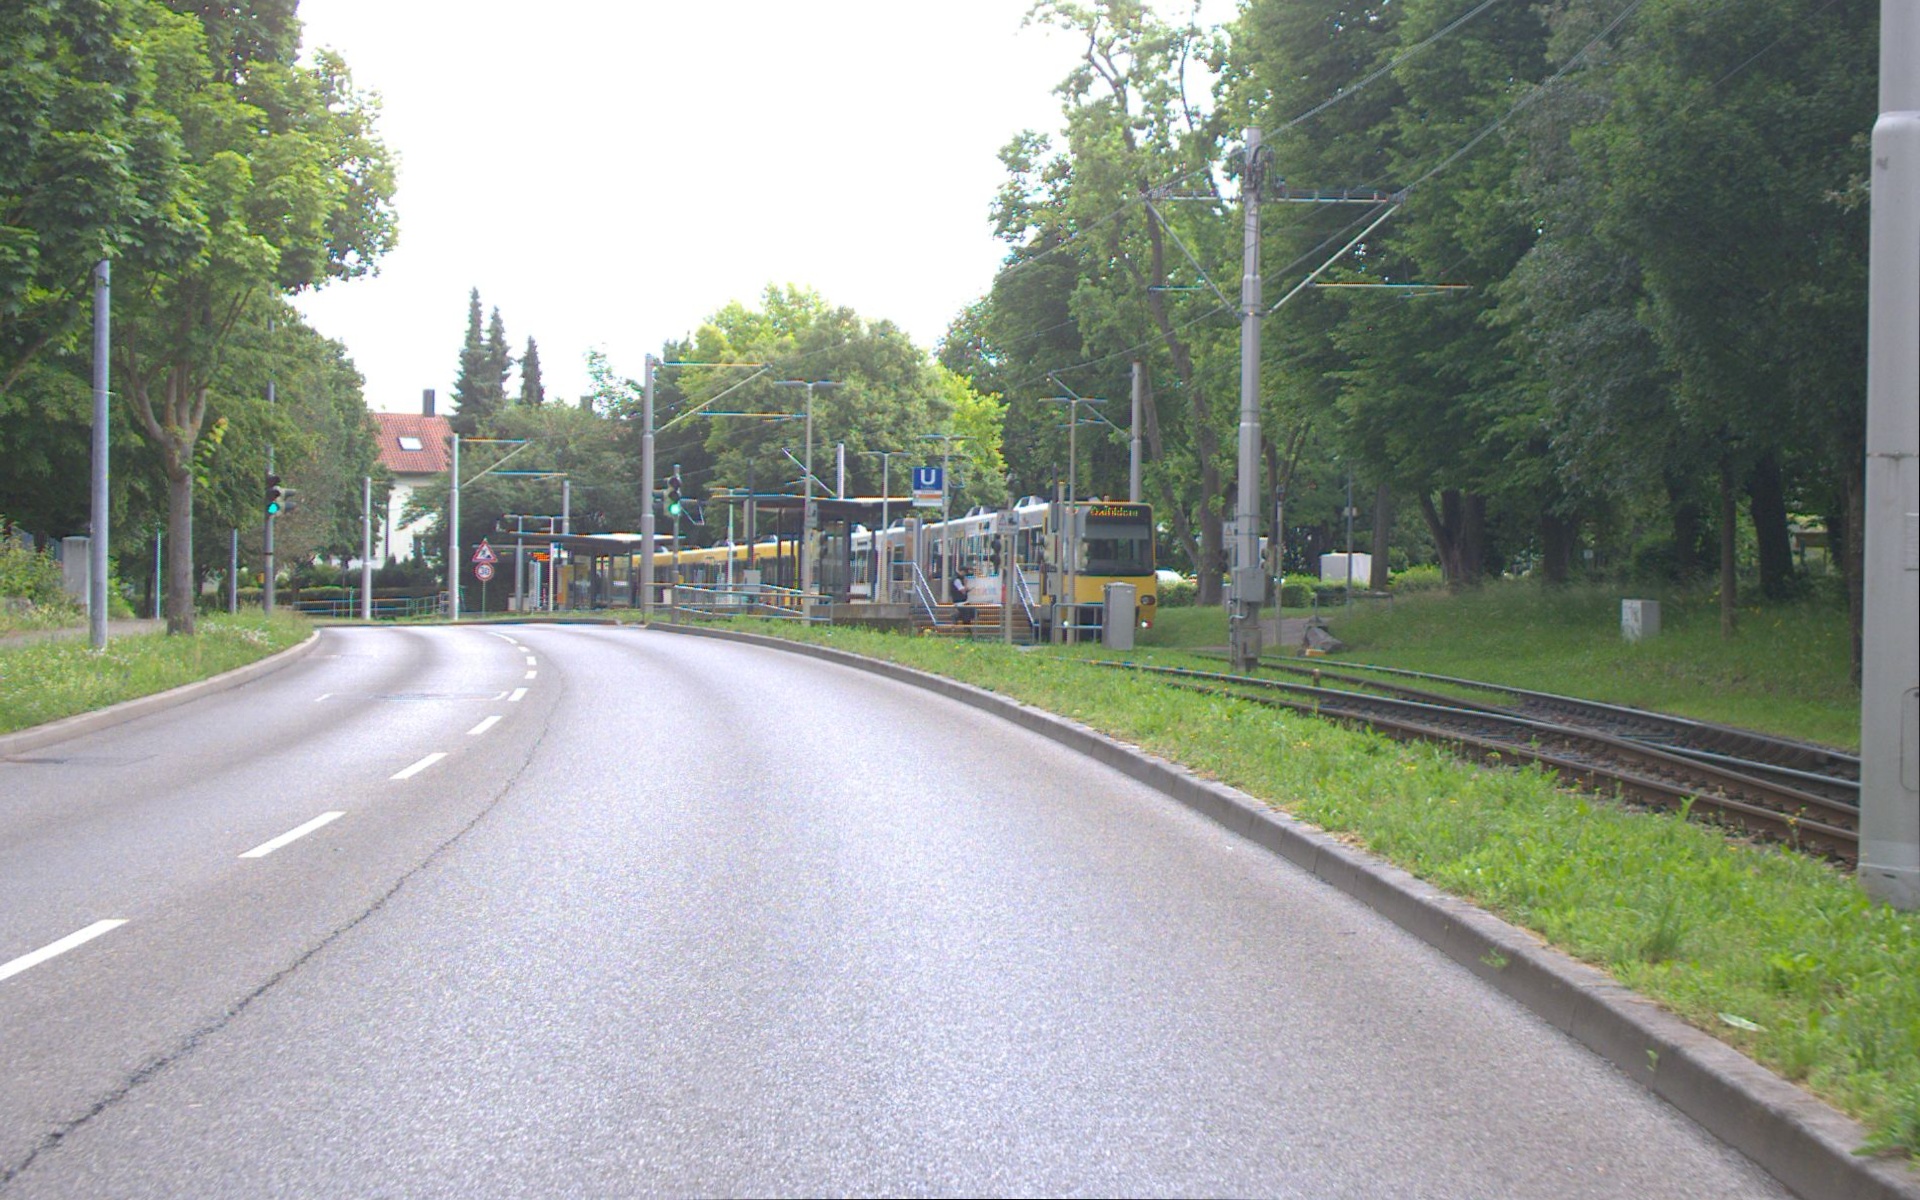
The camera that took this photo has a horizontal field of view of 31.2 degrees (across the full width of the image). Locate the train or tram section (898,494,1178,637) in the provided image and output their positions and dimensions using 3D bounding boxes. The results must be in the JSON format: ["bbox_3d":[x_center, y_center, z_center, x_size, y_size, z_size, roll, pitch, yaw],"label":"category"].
[{"bbox_3d":[1.545,-1.134,98.536,3.007,3.299,34.719,2,1,-7],"label":"train or tram section"}]

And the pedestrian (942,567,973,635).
[{"bbox_3d":[-0.063,0.019,74.670,0.567,1.459,0.595,1,1,-8],"label":"pedestrian"}]
